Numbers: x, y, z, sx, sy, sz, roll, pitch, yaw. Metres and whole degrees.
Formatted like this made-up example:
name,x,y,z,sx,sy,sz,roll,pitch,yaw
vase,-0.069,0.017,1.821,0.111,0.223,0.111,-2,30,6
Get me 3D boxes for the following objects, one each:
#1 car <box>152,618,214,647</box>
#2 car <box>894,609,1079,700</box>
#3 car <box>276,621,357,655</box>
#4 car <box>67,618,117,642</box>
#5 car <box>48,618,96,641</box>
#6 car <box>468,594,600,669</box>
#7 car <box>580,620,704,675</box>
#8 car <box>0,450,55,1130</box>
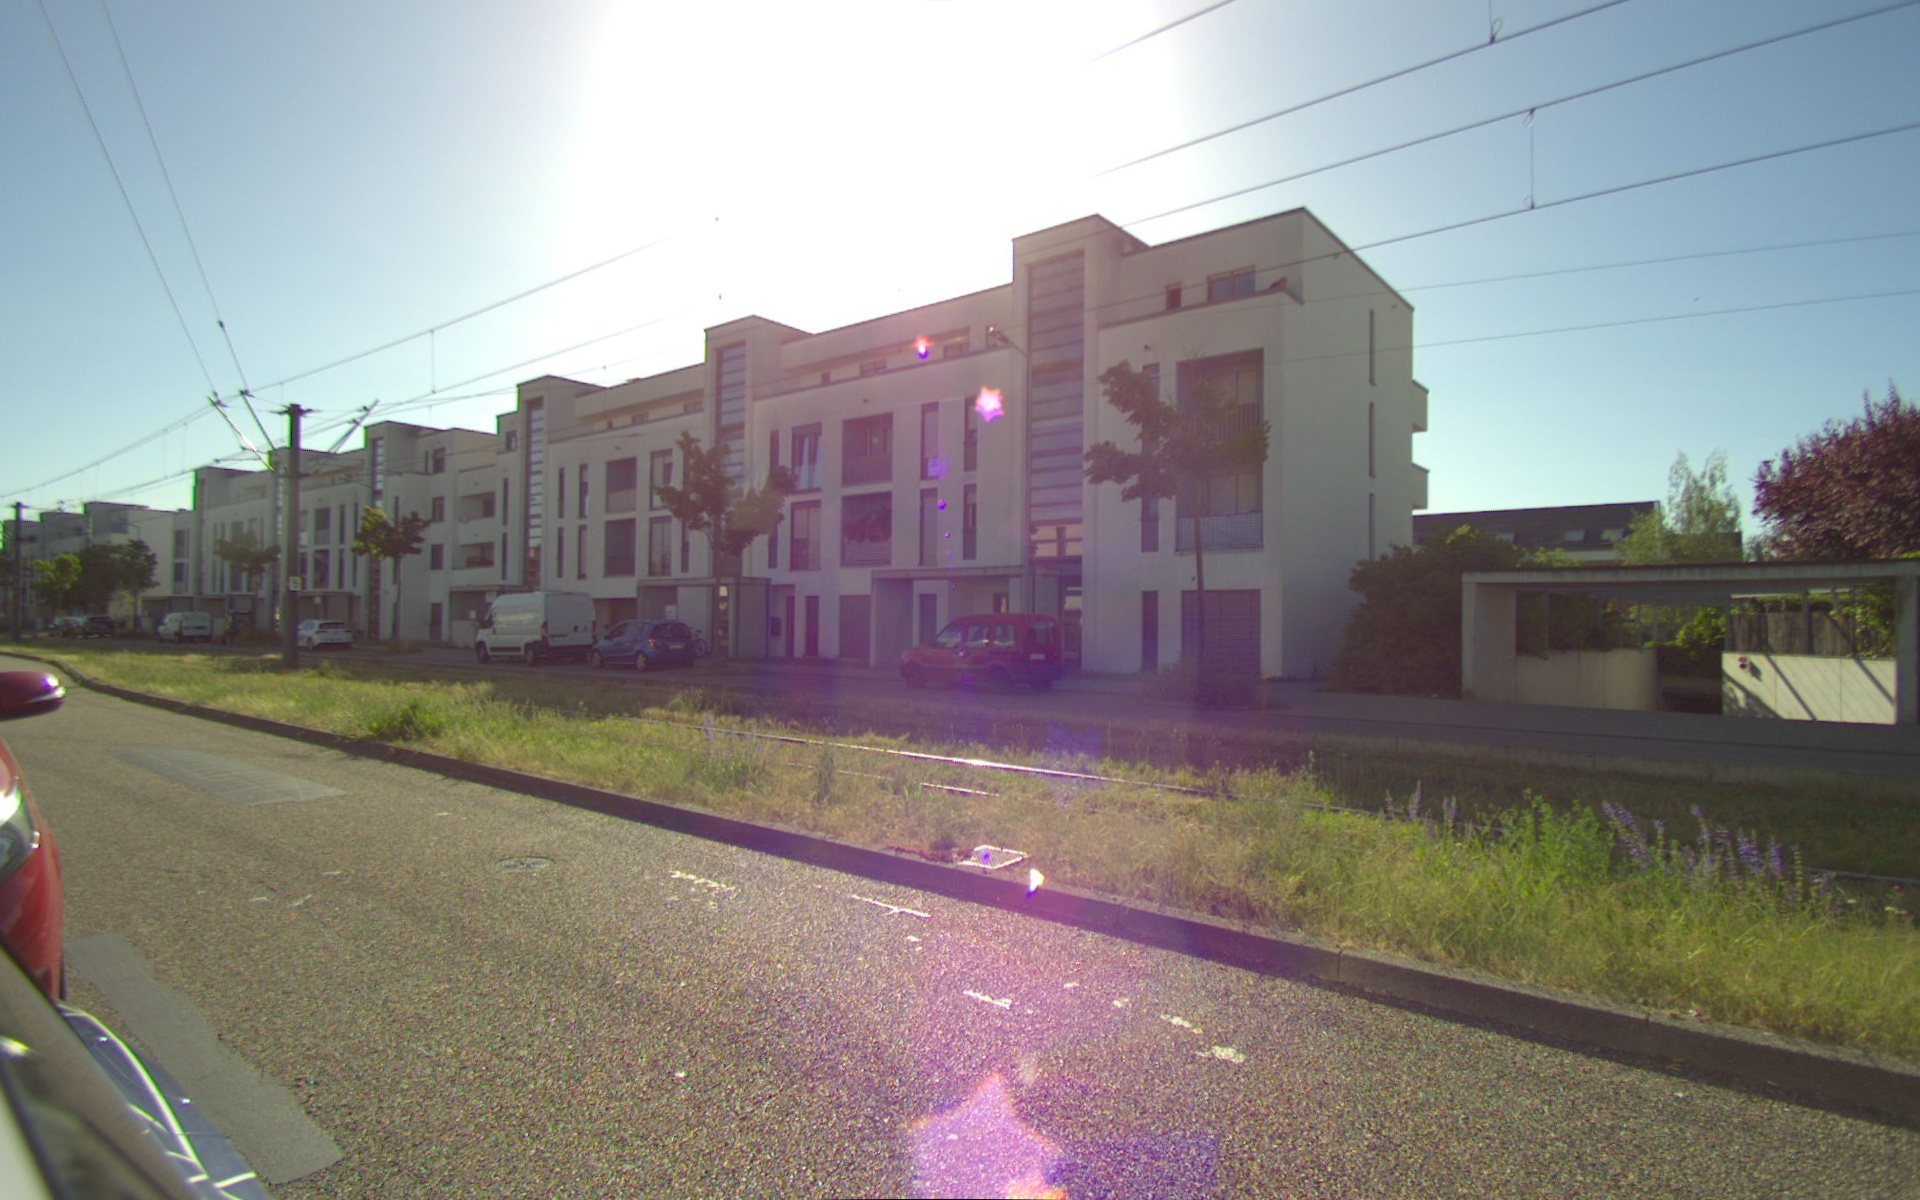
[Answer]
name,x,y,z,sx,sy,sz,roll,pitch,yaw
car,-47.349,1.942,61.634,4.277,1.693,1.900,-1,0,37
car,0.542,1.155,23.025,3.895,1.842,1.972,-1,0,43
car,-31.130,1.821,48.907,4.277,1.517,1.900,-1,0,37
car,-62.970,2.143,73.415,4.277,1.693,1.900,-1,0,37
car,-67.515,2.233,76.940,4.277,1.693,1.900,-1,0,37
car,-15.190,1.059,35.951,5.193,2.491,2.197,-1,0,40
car,-9.996,1.433,31.746,3.833,1.556,1.973,-1,0,40
car,-4.864,0.549,3.654,4.505,1.868,1.850,-1,0,41
